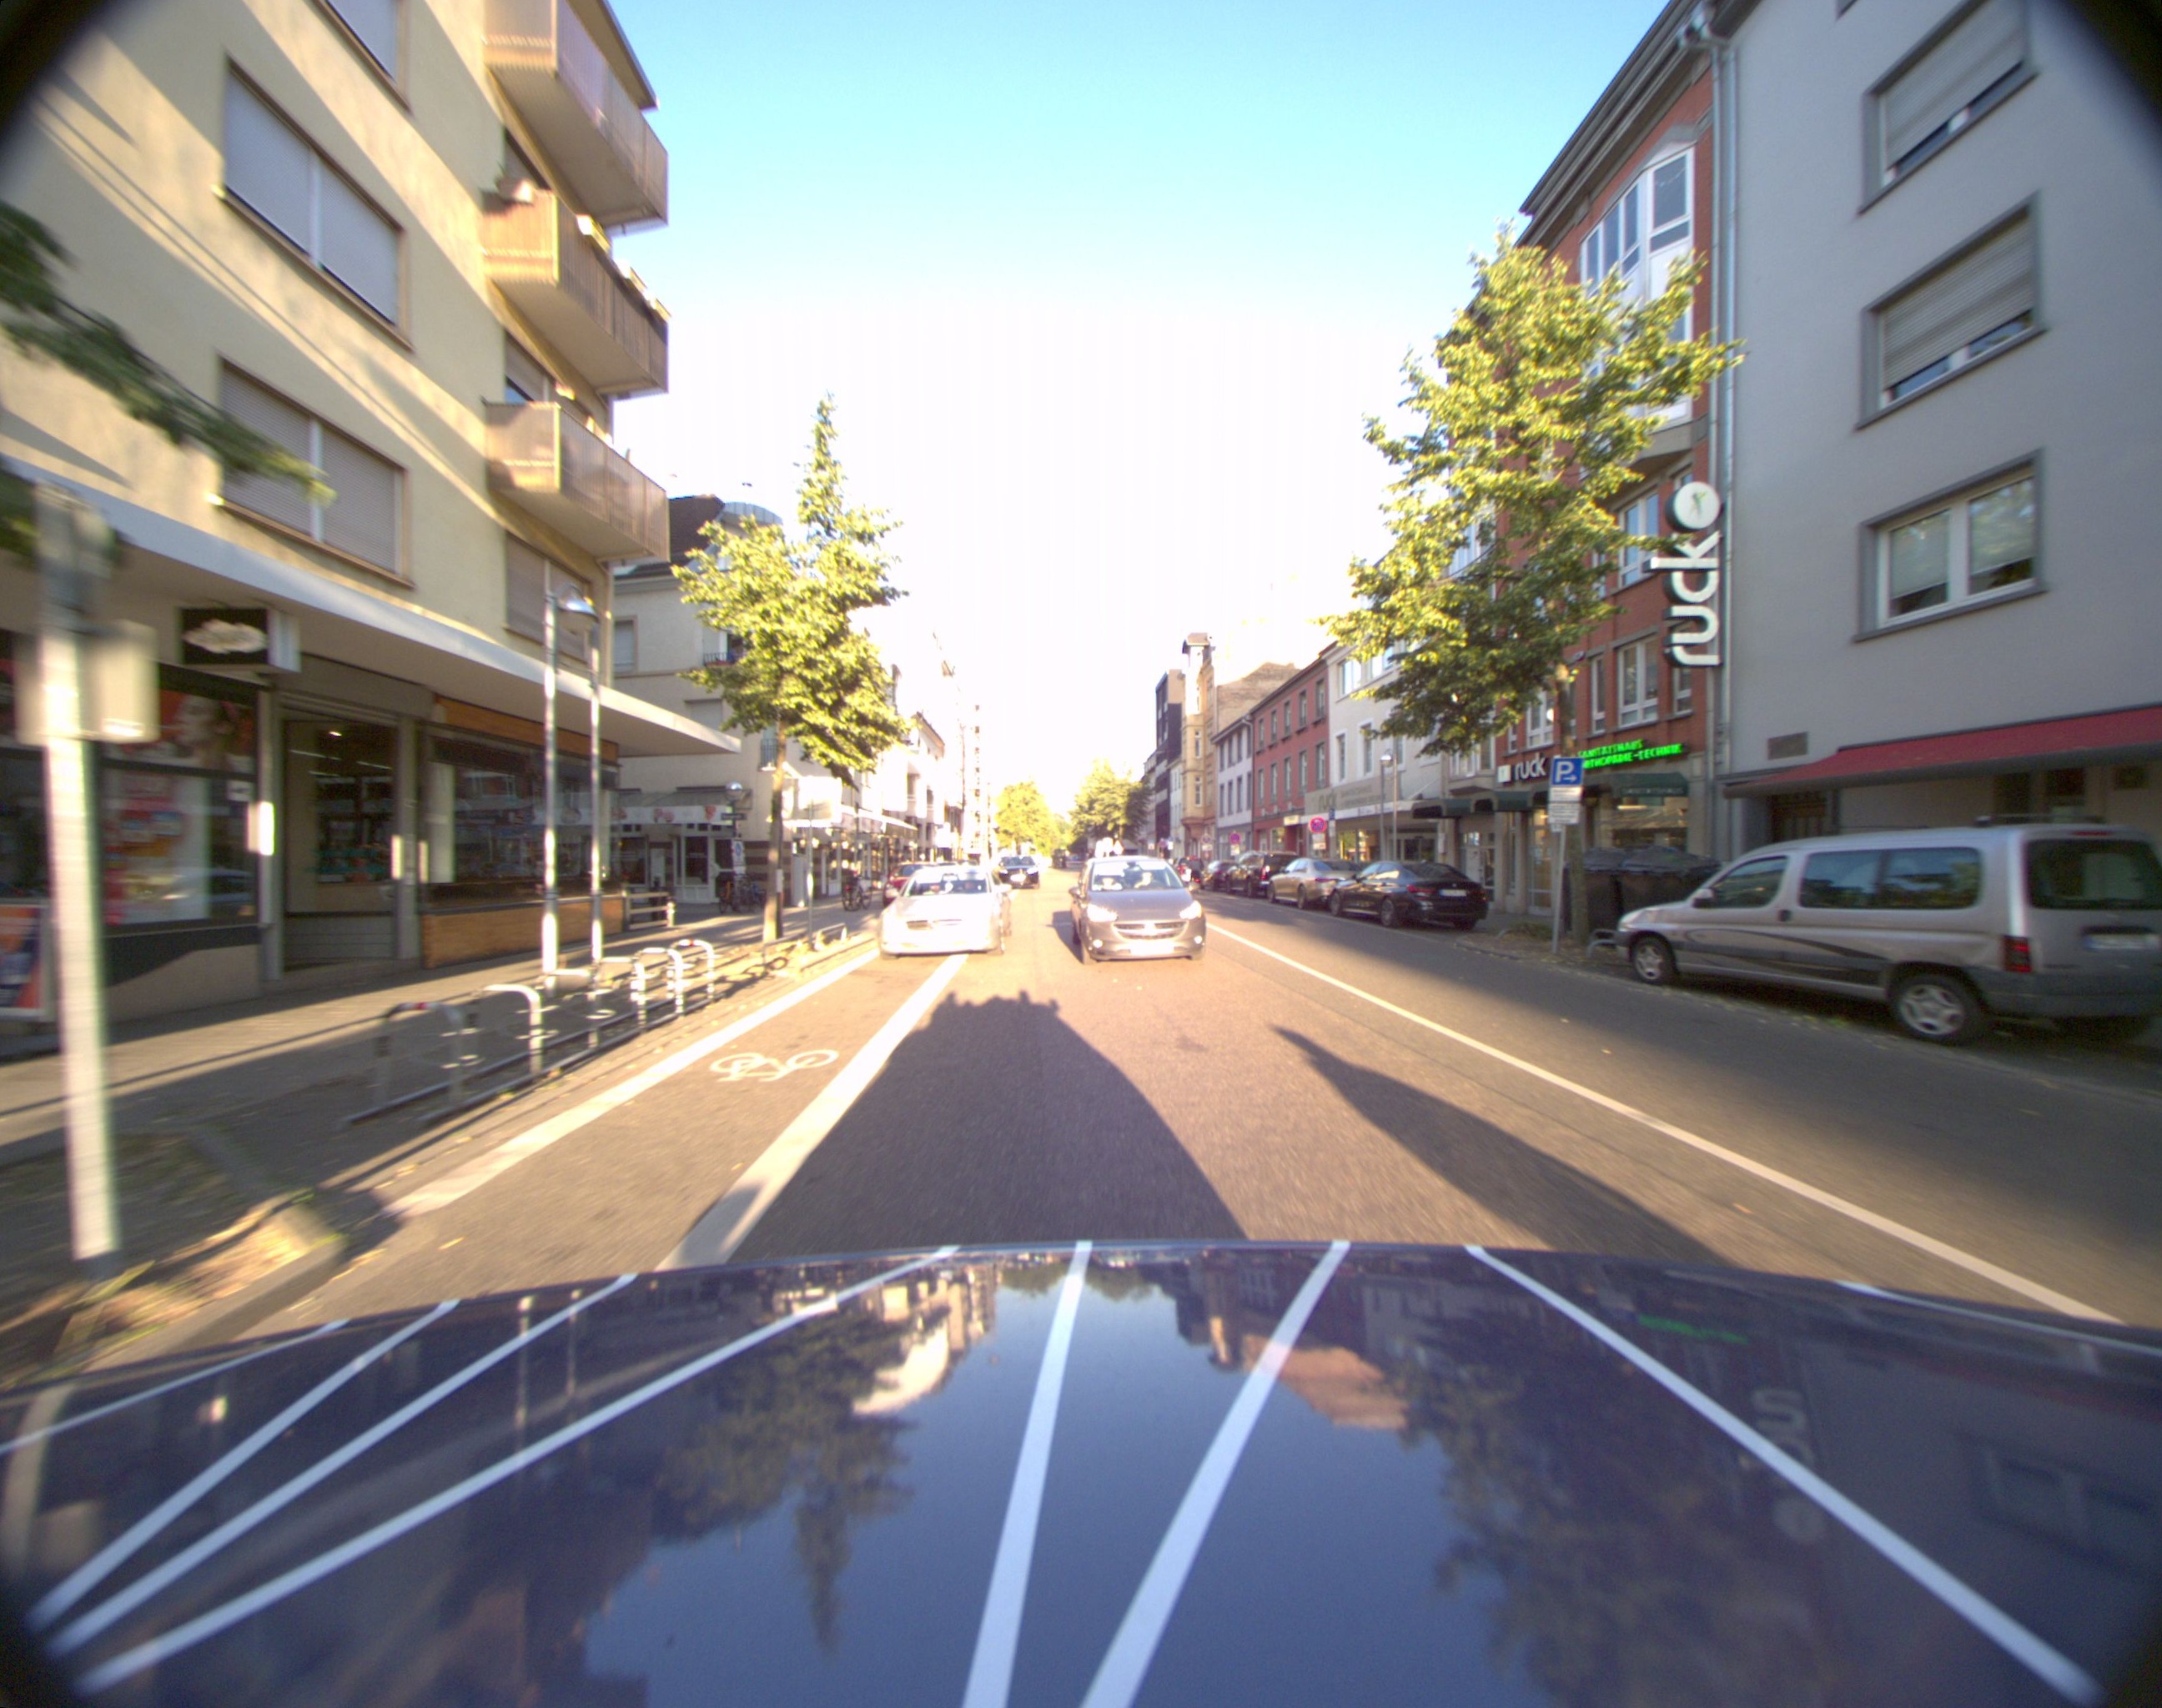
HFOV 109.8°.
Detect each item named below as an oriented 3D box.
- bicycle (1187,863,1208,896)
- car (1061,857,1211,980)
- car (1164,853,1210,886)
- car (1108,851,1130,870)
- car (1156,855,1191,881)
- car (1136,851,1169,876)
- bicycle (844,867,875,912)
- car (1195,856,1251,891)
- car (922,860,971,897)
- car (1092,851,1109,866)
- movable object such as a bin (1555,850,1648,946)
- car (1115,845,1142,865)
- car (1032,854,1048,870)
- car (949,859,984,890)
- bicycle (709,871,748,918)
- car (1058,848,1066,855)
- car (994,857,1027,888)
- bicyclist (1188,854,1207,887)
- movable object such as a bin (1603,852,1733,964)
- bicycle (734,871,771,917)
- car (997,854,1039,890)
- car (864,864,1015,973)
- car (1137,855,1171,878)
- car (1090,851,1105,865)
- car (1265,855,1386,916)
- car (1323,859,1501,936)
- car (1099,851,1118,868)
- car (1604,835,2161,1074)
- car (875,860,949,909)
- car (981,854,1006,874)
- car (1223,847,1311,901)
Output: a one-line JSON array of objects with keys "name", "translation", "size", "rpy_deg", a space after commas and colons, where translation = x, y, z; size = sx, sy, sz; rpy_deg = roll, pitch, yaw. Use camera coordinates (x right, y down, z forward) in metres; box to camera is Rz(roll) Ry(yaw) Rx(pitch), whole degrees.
[{"name": "bicycle", "translation": [4.707, 1.011, 30.863], "size": [0.420, 1.230, 1.693], "rpy_deg": [-2, 1, -5]}, {"name": "car", "translation": [0.637, 0.801, 11.260], "size": [1.587, 1.445, 3.840], "rpy_deg": [-1, 0, -6]}, {"name": "car", "translation": [6.103, 0.863, 44.122], "size": [1.877, 1.718, 4.139], "rpy_deg": [-1, 1, -3]}, {"name": "car", "translation": [3.568, 0.617, 72.151], "size": [1.766, 1.762, 3.871], "rpy_deg": [0, 0, -2]}, {"name": "car", "translation": [5.969, 0.878, 49.282], "size": [1.686, 1.581, 3.515], "rpy_deg": [-1, 1, -2]}, {"name": "car", "translation": [5.389, 0.681, 57.449], "size": [1.881, 1.667, 4.035], "rpy_deg": [-2, 1, -3]}, {"name": "bicycle", "translation": [-6.565, 1.024, 22.554], "size": [0.505, 1.230, 1.711], "rpy_deg": [1, 1, -3]}, {"name": "car", "translation": [6.581, 0.857, 35.505], "size": [1.736, 1.516, 3.841], "rpy_deg": [0, 0, -3]}, {"name": "car", "translation": [-5.634, 0.980, 32.168], "size": [1.615, 1.386, 3.693], "rpy_deg": [-2, 0, -4]}, {"name": "car", "translation": [2.341, 0.520, 90.614], "size": [1.787, 1.762, 3.871], "rpy_deg": [0, 0, -2]}, {"name": "movable object such as a bin", "translation": [8.733, 0.709, 12.799], "size": [0.748, 1.526, 1.100], "rpy_deg": [-2, 0, -3]}, {"name": "car", "translation": [3.983, 0.077, 64.592], "size": [1.796, 1.606, 3.971], "rpy_deg": [-2, 1, -3]}, {"name": "car", "translation": [-4.469, 0.845, 83.268], "size": [1.693, 1.644, 3.732], "rpy_deg": [-2, 1, -3]}, {"name": "car", "translation": [-5.844, 1.017, 39.038], "size": [1.431, 1.443, 3.379], "rpy_deg": [-1, 0, -3]}, {"name": "bicycle", "translation": [-9.564, 1.071, 20.689], "size": [0.331, 1.123, 2.011], "rpy_deg": [-1, 1, -6]}, {"name": "car", "translation": [-4.346, -0.589, 171.258], "size": [1.672, 1.630, 3.255], "rpy_deg": [-2, 1, -2]}, {"name": "car", "translation": [-3.882, 0.981, 42.328], "size": [1.692, 1.534, 3.729], "rpy_deg": [-2, 1, -4]}, {"name": "bicyclist", "translation": [4.711, 0.673, 30.766], "size": [0.569, 1.295, 0.660], "rpy_deg": [-2, 1, -4]}, {"name": "movable object such as a bin", "translation": [8.793, 0.757, 11.455], "size": [0.753, 1.535, 1.484], "rpy_deg": [-2, 1, -2]}, {"name": "bicycle", "translation": [-8.953, 1.068, 20.755], "size": [0.331, 1.123, 2.011], "rpy_deg": [1, 1, -6]}, {"name": "car", "translation": [-2.999, 0.830, 37.062], "size": [1.896, 1.632, 3.748], "rpy_deg": [-1, 0, -3]}, {"name": "car", "translation": [-2.174, 0.931, 12.911], "size": [1.790, 1.361, 4.571], "rpy_deg": [-2, 1, -2]}, {"name": "car", "translation": [5.071, 0.843, 53.139], "size": [1.791, 1.504, 3.776], "rpy_deg": [-1, 1, -3]}, {"name": "car", "translation": [2.155, 0.542, 100.738], "size": [1.766, 1.762, 3.871], "rpy_deg": [0, 0, -2]}, {"name": "car", "translation": [7.067, 0.835, 22.548], "size": [1.896, 1.590, 4.943], "rpy_deg": [1, 0, -1]}, {"name": "car", "translation": [7.121, 0.851, 16.917], "size": [1.804, 1.385, 4.415], "rpy_deg": [-1, 1, -4]}, {"name": "car", "translation": [2.986, 0.589, 82.438], "size": [1.766, 1.762, 3.871], "rpy_deg": [0, 0, -2]}, {"name": "car", "translation": [7.513, 0.690, 7.476], "size": [1.720, 1.654, 3.997], "rpy_deg": [-2, 1, -6]}, {"name": "car", "translation": [-5.468, 0.946, 25.051], "size": [1.654, 1.420, 3.999], "rpy_deg": [-2, 0, -3]}, {"name": "car", "translation": [-7.091, 0.815, 61.785], "size": [1.766, 1.563, 3.871], "rpy_deg": [0, 0, -2]}, {"name": "car", "translation": [7.055, 0.728, 29.405], "size": [1.973, 1.873, 4.946], "rpy_deg": [0, 0, -3]}]
